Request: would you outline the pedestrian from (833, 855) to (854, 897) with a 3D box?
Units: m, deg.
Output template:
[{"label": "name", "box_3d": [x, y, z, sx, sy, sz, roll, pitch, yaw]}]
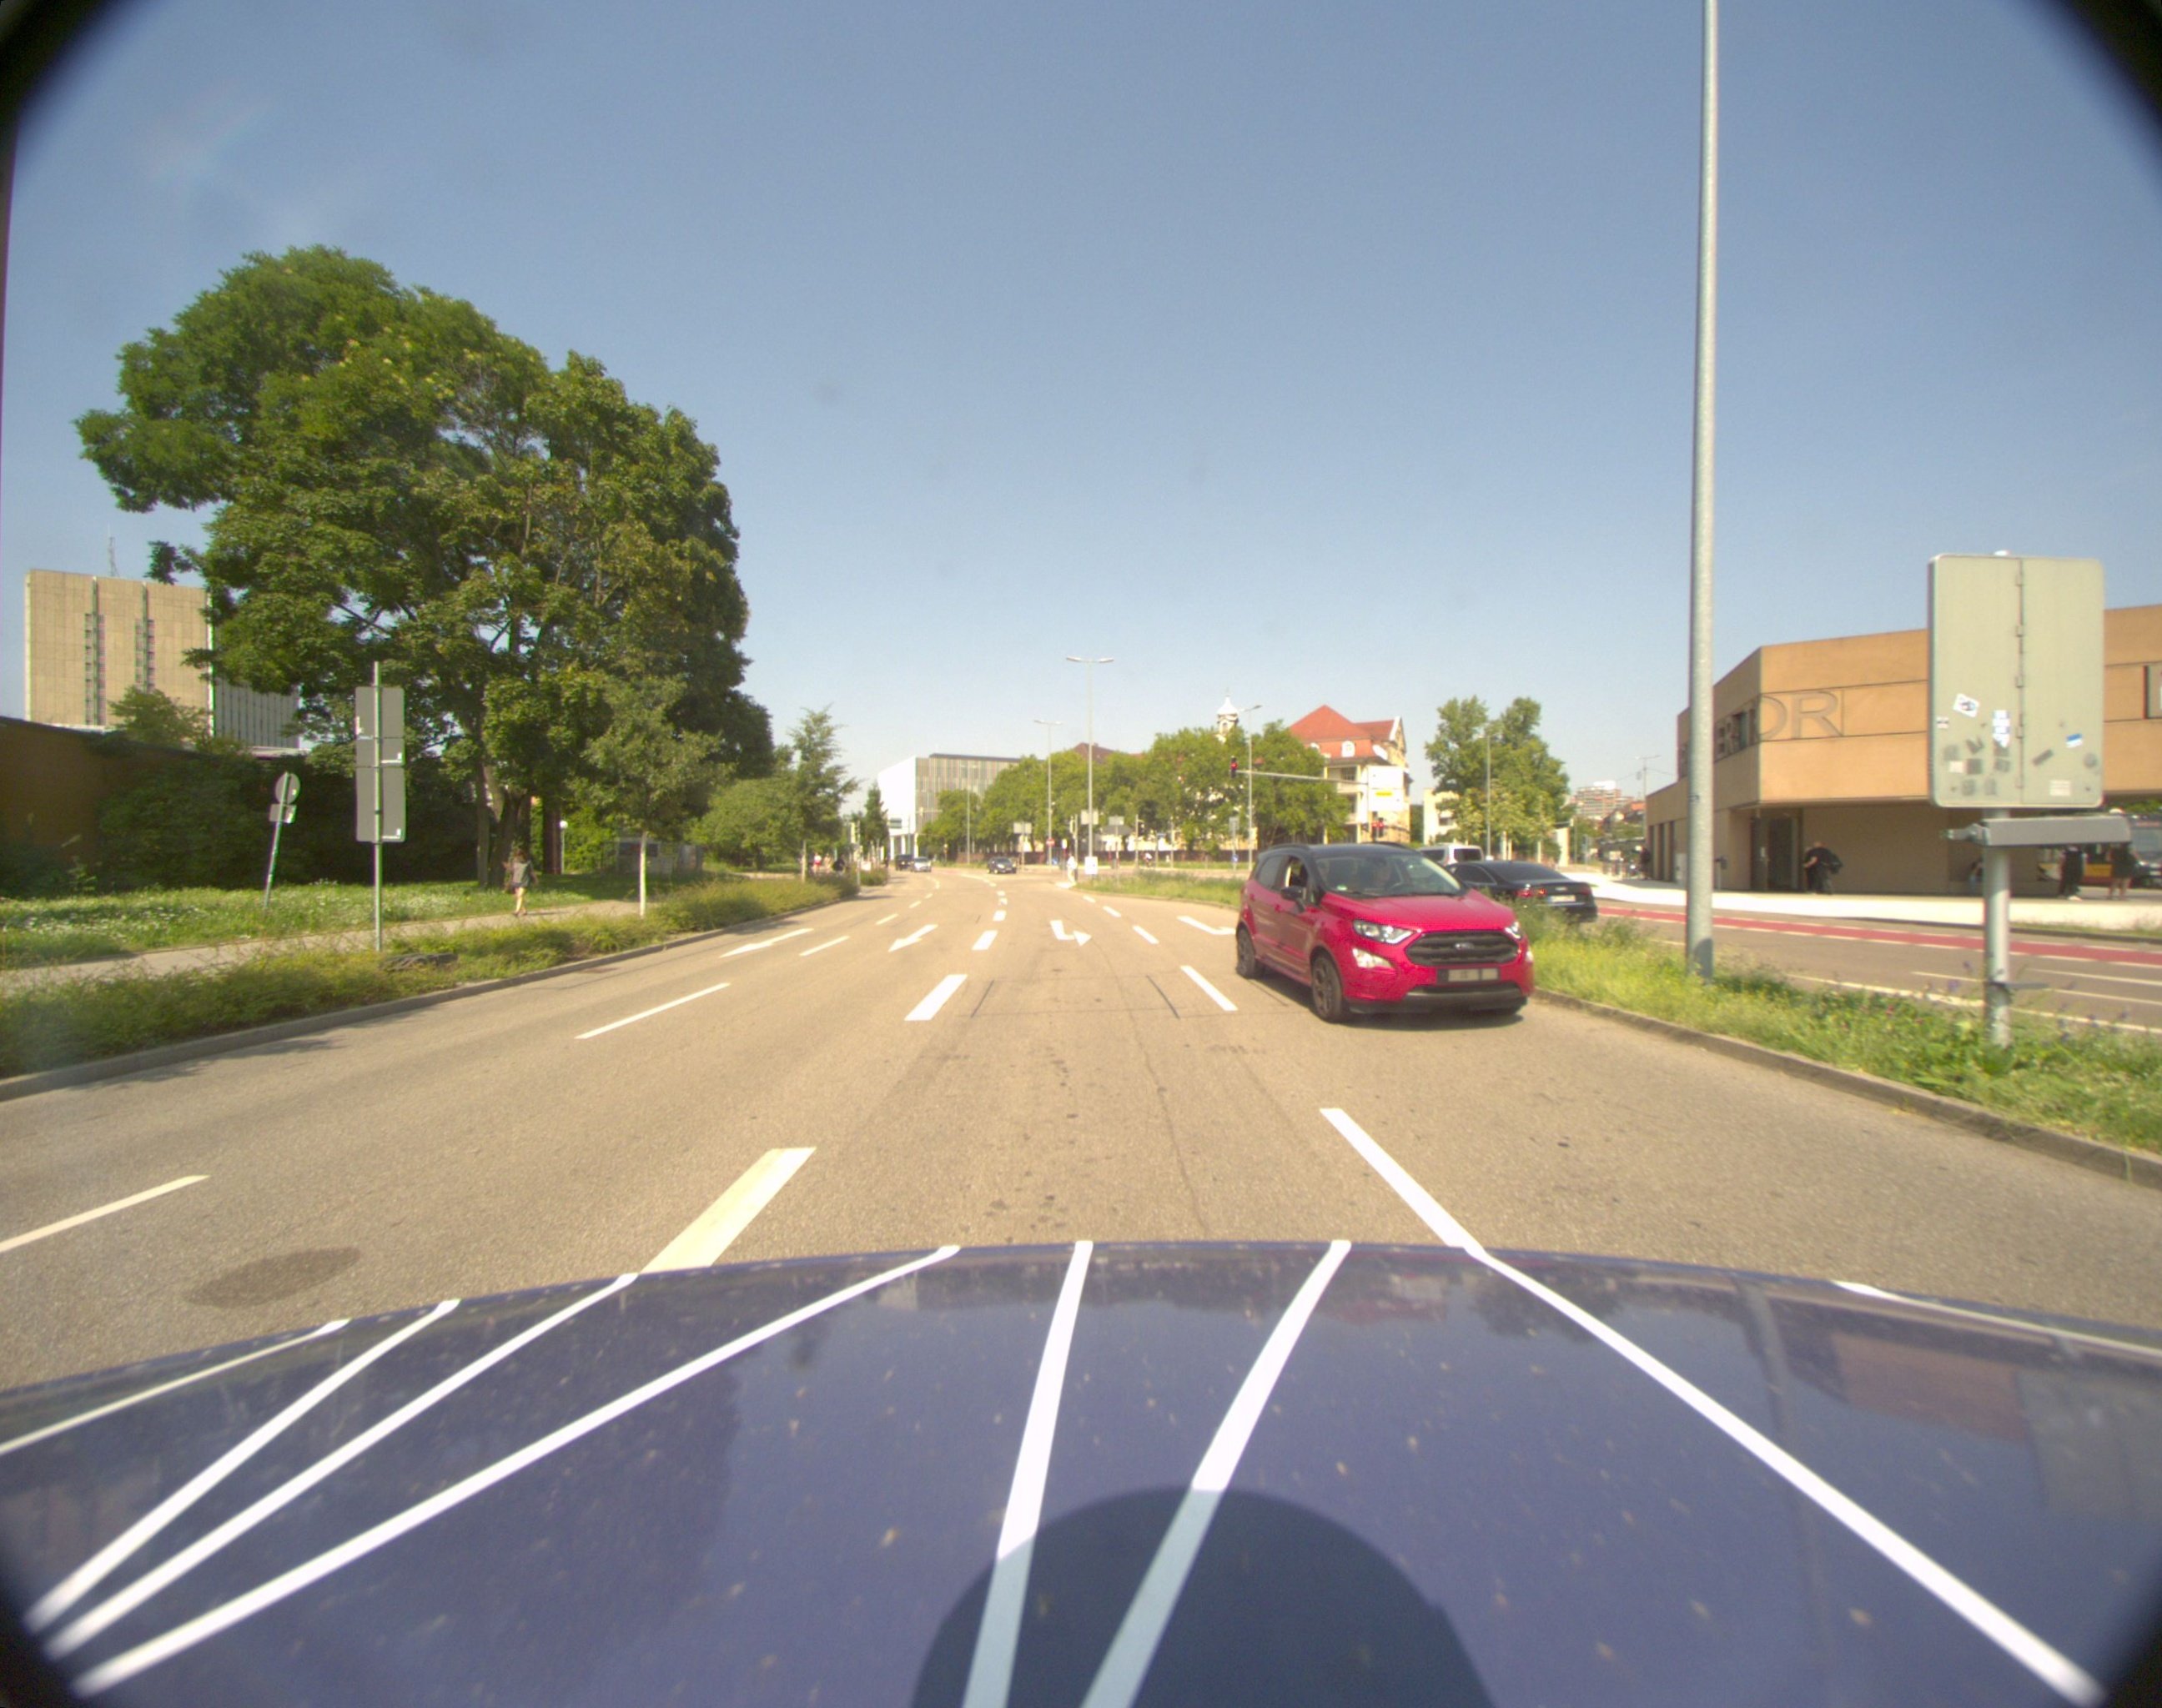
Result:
[{"label": "pedestrian", "box_3d": [-10.872, 0.999, 34.813, 0.823, 1.892, 0.630, 0, 1, -10]}]

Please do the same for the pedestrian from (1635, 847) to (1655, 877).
[{"label": "pedestrian", "box_3d": [28.159, 0.396, 37.924, 0.686, 1.472, 0.543, 0, 1, 26]}]

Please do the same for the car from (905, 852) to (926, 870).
[{"label": "car", "box_3d": [-19.334, 0.810, 88.781, 1.893, 1.908, 4.526, -2, 0, -19]}]

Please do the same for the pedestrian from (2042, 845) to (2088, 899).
[{"label": "pedestrian", "box_3d": [27.218, 0.487, 21.024, 0.539, 1.488, 0.542, 0, 1, 1]}]

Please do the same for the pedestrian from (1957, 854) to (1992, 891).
[{"label": "pedestrian", "box_3d": [27.002, 0.543, 22.965, 0.538, 1.093, 0.543, 0, 1, 33]}]

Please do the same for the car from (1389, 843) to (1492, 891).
[{"label": "car", "box_3d": [14.492, 0.475, 30.899, 1.869, 1.843, 3.912, 0, 1, -10]}]

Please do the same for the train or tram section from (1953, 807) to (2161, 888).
[{"label": "train or tram section", "box_3d": [48.752, -0.306, 37.885, 2.697, 3.418, 13.447, 0, 0, 30]}]

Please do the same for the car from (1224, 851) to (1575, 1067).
[{"label": "car", "box_3d": [2.810, 0.799, 7.715, 1.695, 1.577, 3.843, -2, 0, -4]}]

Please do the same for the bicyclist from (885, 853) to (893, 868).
[{"label": "bicyclist", "box_3d": [-18.814, 0.649, 74.484, 0.680, 1.392, 1.047, -1, 0, -22]}]

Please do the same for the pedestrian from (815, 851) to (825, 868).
[{"label": "pedestrian", "box_3d": [-20.054, 0.452, 58.412, 0.635, 1.291, 0.486, -3, 1, -25]}]

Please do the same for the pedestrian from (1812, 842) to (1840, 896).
[{"label": "pedestrian", "box_3d": [23.000, 0.453, 23.466, 0.540, 1.615, 0.689, 0, 1, 37]}]

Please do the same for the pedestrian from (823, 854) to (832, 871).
[{"label": "pedestrian", "box_3d": [-19.593, 0.686, 58.718, 0.618, 1.291, 0.436, -3, 1, -25]}]

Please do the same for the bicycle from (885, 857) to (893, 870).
[{"label": "bicycle", "box_3d": [-18.824, 0.925, 74.411, 0.595, 1.162, 2.231, -1, 0, -20]}]

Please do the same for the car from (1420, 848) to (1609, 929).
[{"label": "car", "box_3d": [8.503, 0.610, 15.264, 1.526, 1.417, 3.475, 0, 0, -7]}]

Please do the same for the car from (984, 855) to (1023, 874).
[{"label": "car", "box_3d": [-6.695, 0.879, 65.390, 1.803, 1.608, 3.990, 0, 0, -30]}]

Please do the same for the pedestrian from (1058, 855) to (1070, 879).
[{"label": "pedestrian", "box_3d": [-0.970, 0.718, 42.298, 0.605, 1.291, 0.617, -2, 1, -2]}]

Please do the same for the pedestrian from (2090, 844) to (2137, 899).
[{"label": "pedestrian", "box_3d": [28.371, 0.468, 20.885, 0.539, 1.488, 0.542, 0, 1, 1]}]

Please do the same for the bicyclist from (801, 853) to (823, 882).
[{"label": "bicyclist", "box_3d": [-15.181, 0.750, 42.888, 0.904, 1.596, 0.924, 0, 0, 0]}]

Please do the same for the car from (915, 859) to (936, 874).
[{"label": "car", "box_3d": [-16.236, 1.301, 79.068, 1.661, 1.521, 4.527, -2, 0, -17]}]

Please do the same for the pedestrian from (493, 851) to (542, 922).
[{"label": "pedestrian", "box_3d": [-13.891, 0.783, 18.751, 0.672, 1.689, 0.805, 0, 1, -11]}]

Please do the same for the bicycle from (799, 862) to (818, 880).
[{"label": "bicycle", "box_3d": [-15.327, 0.951, 42.770, 0.357, 0.974, 1.782, 0, 0, 3]}]
